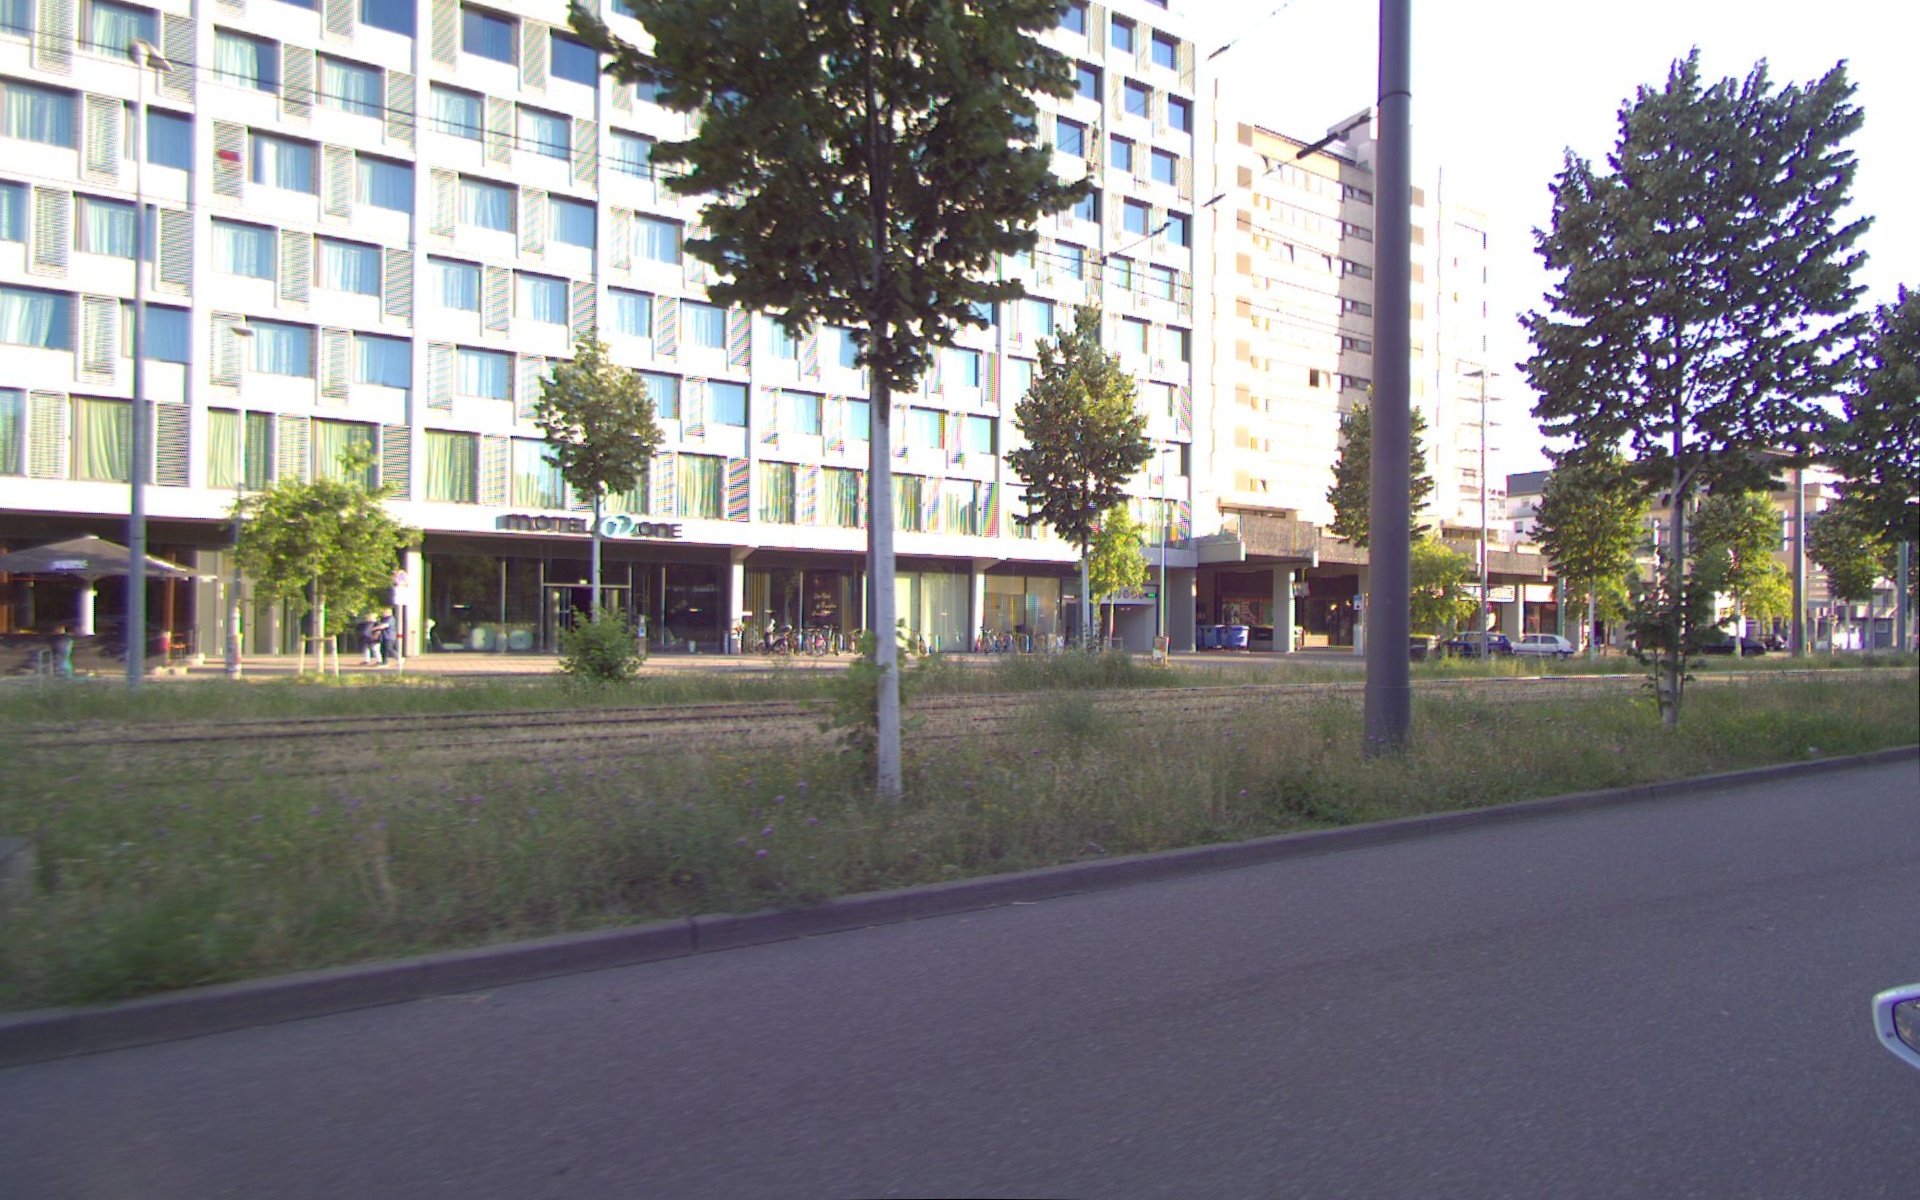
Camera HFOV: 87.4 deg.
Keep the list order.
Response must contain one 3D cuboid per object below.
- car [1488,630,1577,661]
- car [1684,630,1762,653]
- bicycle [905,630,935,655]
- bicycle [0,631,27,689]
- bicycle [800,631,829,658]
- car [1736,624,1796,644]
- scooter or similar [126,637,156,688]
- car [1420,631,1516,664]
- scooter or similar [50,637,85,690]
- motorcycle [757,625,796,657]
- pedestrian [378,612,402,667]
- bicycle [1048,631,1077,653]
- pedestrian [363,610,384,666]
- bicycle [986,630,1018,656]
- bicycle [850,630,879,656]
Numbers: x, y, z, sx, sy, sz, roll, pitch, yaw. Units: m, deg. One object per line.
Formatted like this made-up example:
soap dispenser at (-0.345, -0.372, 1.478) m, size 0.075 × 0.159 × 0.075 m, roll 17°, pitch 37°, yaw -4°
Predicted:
car at (31.779, 2.502, 55.895) m, size 4.050 × 1.455 × 1.825 m, roll 2°, pitch 1°, yaw 21°
car at (50.418, 2.742, 66.441) m, size 3.656 × 1.469 × 1.745 m, roll 0°, pitch -3°, yaw 17°
bicycle at (-1.695, 1.817, 42.848) m, size 0.417 × 1.033 × 1.777 m, roll 1°, pitch -1°, yaw -33°
bicycle at (-21.822, 1.356, 22.912) m, size 0.438 × 1.215 × 1.897 m, roll 1°, pitch 0°, yaw -33°
bicycle at (-5.841, 1.790, 40.309) m, size 0.417 × 1.033 × 1.777 m, roll 1°, pitch -1°, yaw -33°
car at (75.976, 3.187, 94.688) m, size 2.166 × 1.870 × 3.914 m, roll 1°, pitch -1°, yaw -31°
scooter or similar at (-19.480, 1.480, 23.903) m, size 0.334 × 1.072 × 1.176 m, roll -1°, pitch 4°, yaw -29°
car at (26.373, 2.446, 52.307) m, size 4.201 × 1.611 × 2.009 m, roll 1°, pitch -1°, yaw 20°
scooter or similar at (-20.578, 1.443, 23.164) m, size 0.334 × 1.179 × 1.176 m, roll 1°, pitch -1°, yaw -29°
motorcycle at (-7.261, 1.603, 39.654) m, size 0.513 × 1.187 × 1.872 m, roll 2°, pitch -1°, yaw -45°
pedestrian at (-17.055, 1.178, 30.077) m, size 0.596 × 1.621 × 0.494 m, roll 1°, pitch 1°, yaw -29°
bicycle at (5.018, 2.071, 49.333) m, size 0.417 × 1.033 × 1.777 m, roll 1°, pitch -1°, yaw -33°
pedestrian at (-17.739, 1.143, 30.387) m, size 0.510 × 1.678 × 0.427 m, roll 1°, pitch 1°, yaw -29°
bicycle at (1.857, 1.902, 44.580) m, size 0.417 × 1.033 × 1.776 m, roll 1°, pitch 0°, yaw -33°
bicycle at (-3.939, 1.762, 41.361) m, size 0.417 × 1.033 × 1.732 m, roll 1°, pitch -1°, yaw -33°
